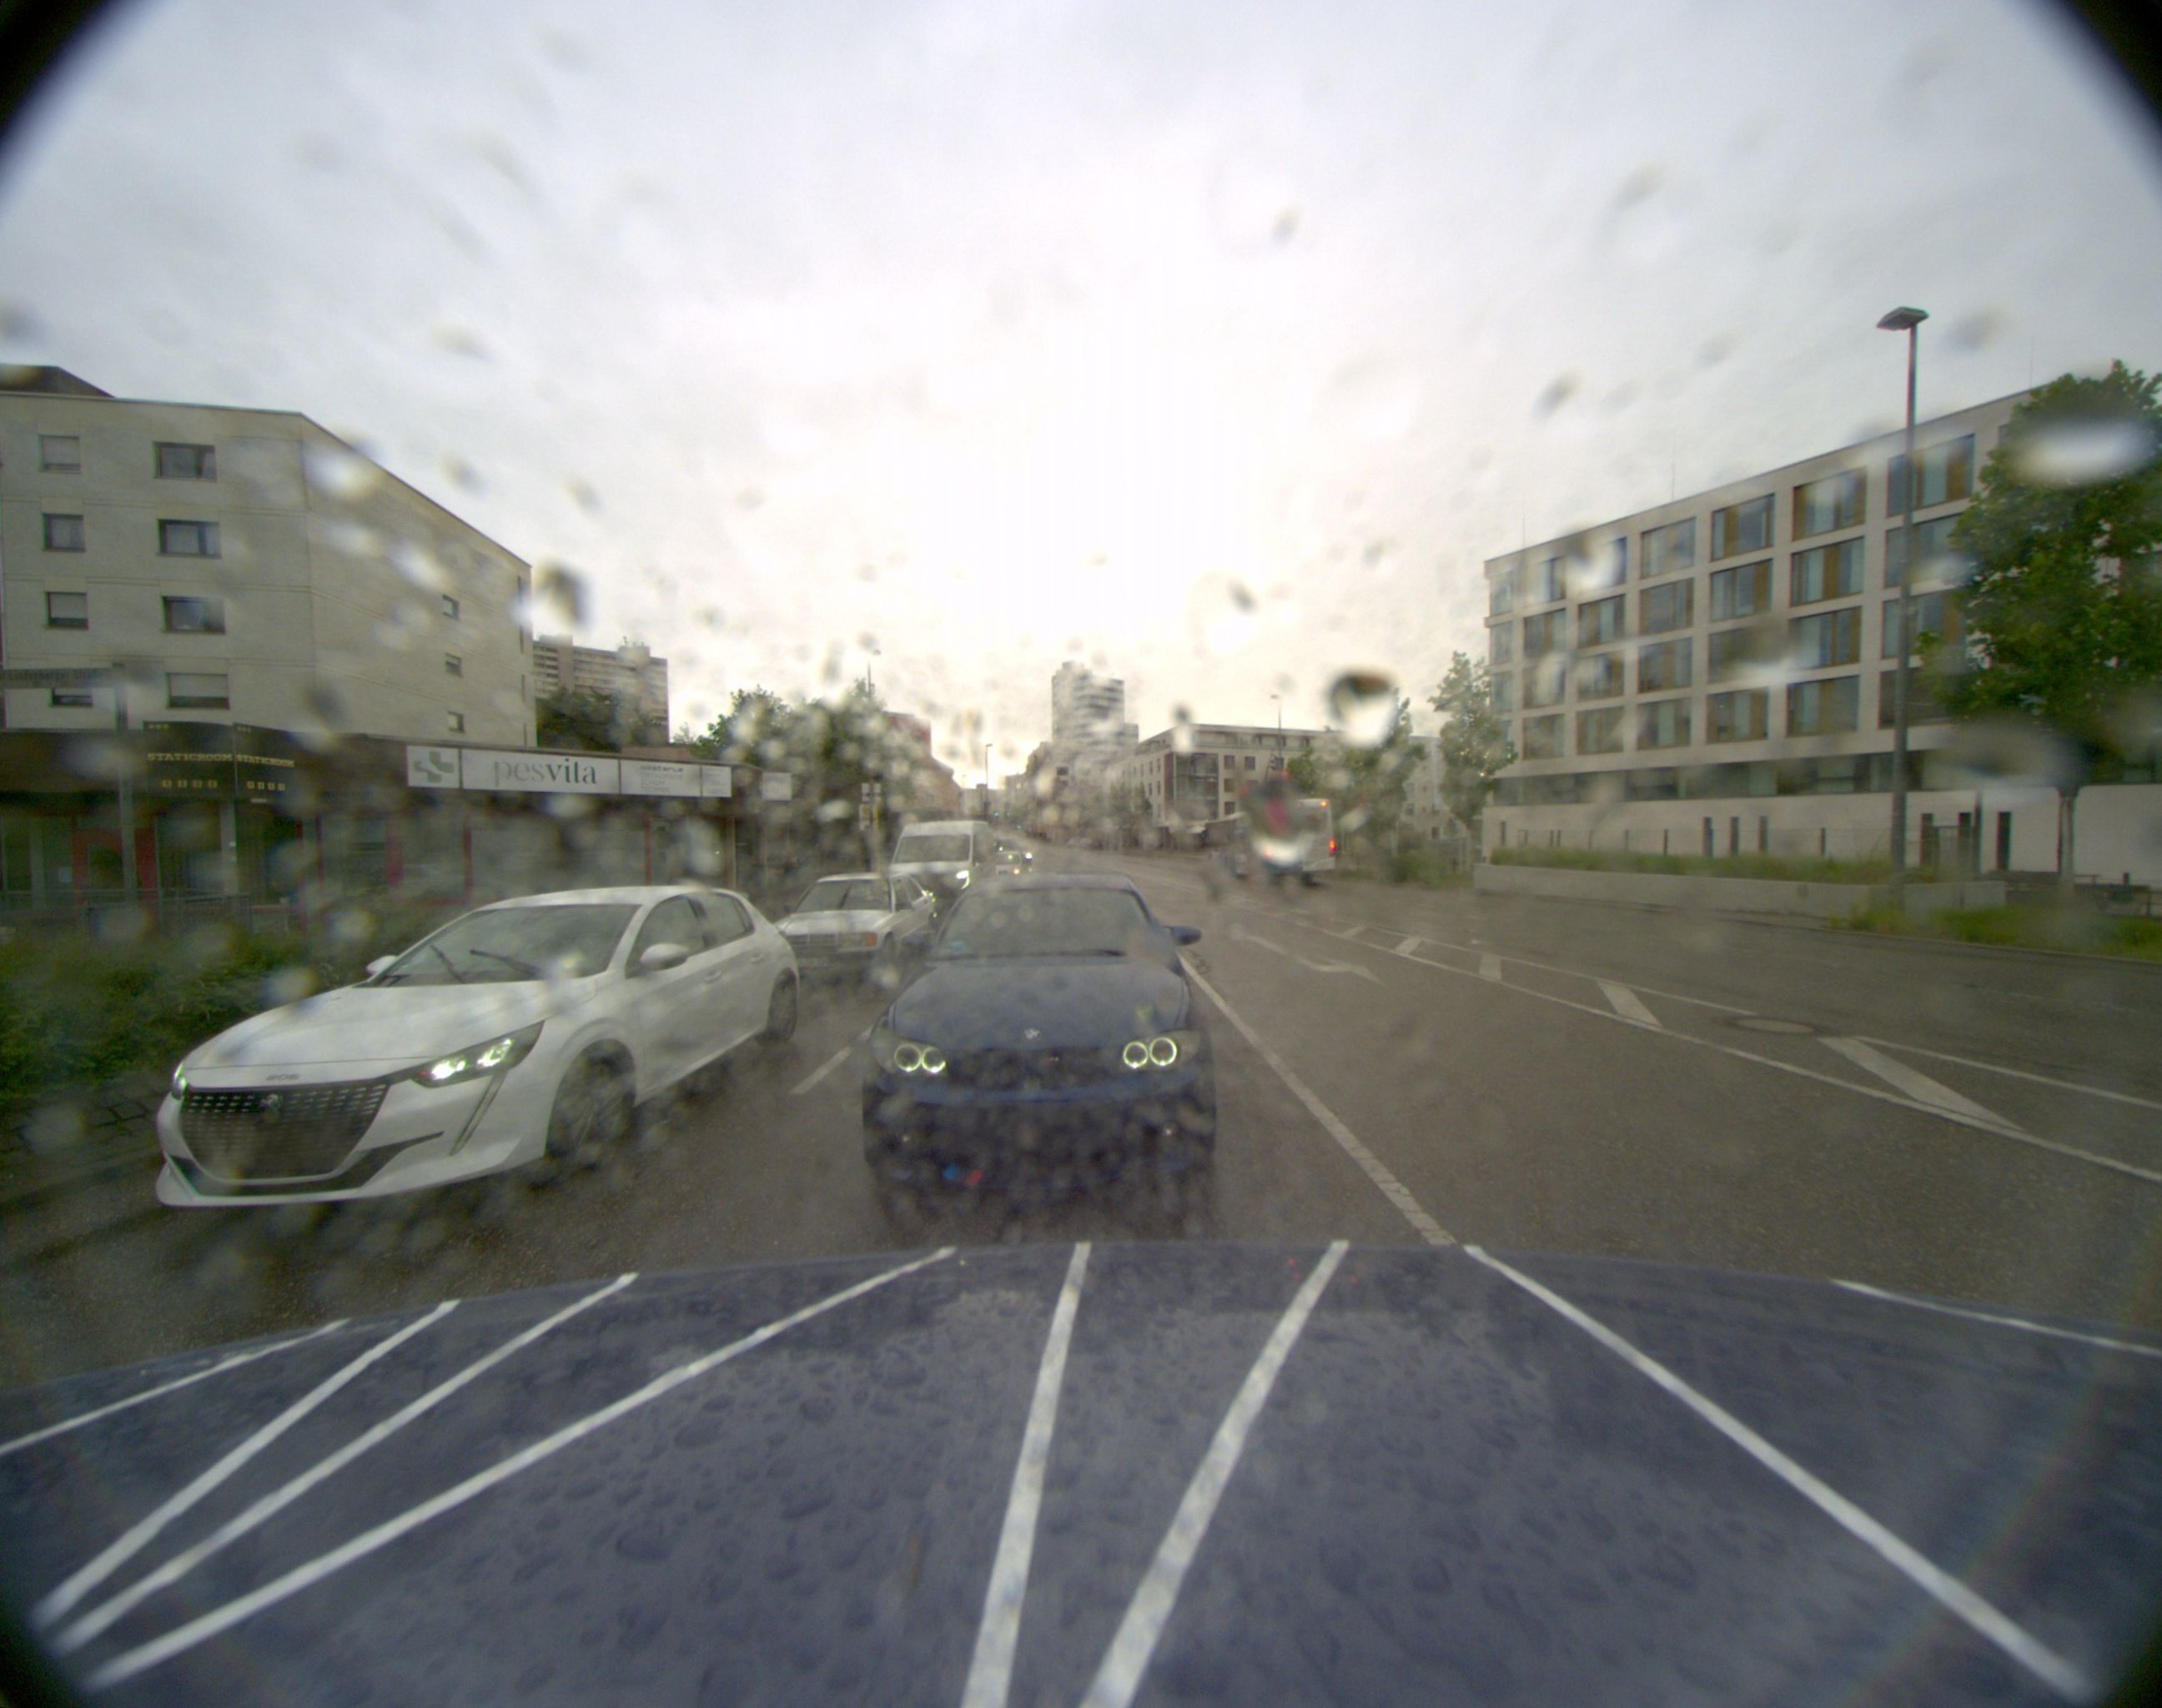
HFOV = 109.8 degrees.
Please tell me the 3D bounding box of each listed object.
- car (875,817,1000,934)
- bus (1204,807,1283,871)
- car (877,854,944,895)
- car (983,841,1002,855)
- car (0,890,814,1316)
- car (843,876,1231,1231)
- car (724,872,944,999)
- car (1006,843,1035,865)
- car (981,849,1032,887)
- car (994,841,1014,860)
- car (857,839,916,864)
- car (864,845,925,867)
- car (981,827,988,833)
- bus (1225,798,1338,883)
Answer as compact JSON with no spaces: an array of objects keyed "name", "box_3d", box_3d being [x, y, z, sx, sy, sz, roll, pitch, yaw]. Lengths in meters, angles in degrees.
[{"name":"car","box_3d":[-3.483,0.411,19.784,2.197,2.503,6.120,-1,1,-2]},{"name":"bus","box_3d":[8.630,-0.772,41.495,2.798,3.096,8.884,0,1,3]},{"name":"car","box_3d":[-7.000,0.794,31.596,1.788,1.481,4.000,-2,1,1]},{"name":"car","box_3d":[-11.524,-0.780,98.937,1.879,1.745,4.000,1,0,1]},{"name":"car","box_3d":[-3.380,1.086,5.055,1.666,1.407,4.114,-2,1,1]},{"name":"car","box_3d":[-0.238,0.945,5.397,1.693,1.380,3.999,-2,1,-1]},{"name":"car","box_3d":[-3.366,1.041,11.268,1.788,1.338,4.162,-2,1,1]},{"name":"car","box_3d":[-4.780,-0.009,60.530,1.999,1.559,3.998,-2,1,-1]},{"name":"car","box_3d":[-3.307,0.589,34.534,1.803,1.530,3.999,-2,1,1]},{"name":"car","box_3d":[-8.218,-0.389,81.290,1.999,2.002,3.997,-1,1,-5]},{"name":"car","box_3d":[-14.160,-0.182,55.421,4.000,1.769,1.882,-1,1,-10]},{"name":"car","box_3d":[-12.982,0.111,53.097,4.000,1.419,1.882,-1,1,-10]},{"name":"car","box_3d":[-26.781,-6.757,211.446,1.666,1.625,3.801,-2,1,-11]},{"name":"bus","box_3d":[8.216,-0.553,32.439,2.783,3.096,9.369,0,1,3]}]
